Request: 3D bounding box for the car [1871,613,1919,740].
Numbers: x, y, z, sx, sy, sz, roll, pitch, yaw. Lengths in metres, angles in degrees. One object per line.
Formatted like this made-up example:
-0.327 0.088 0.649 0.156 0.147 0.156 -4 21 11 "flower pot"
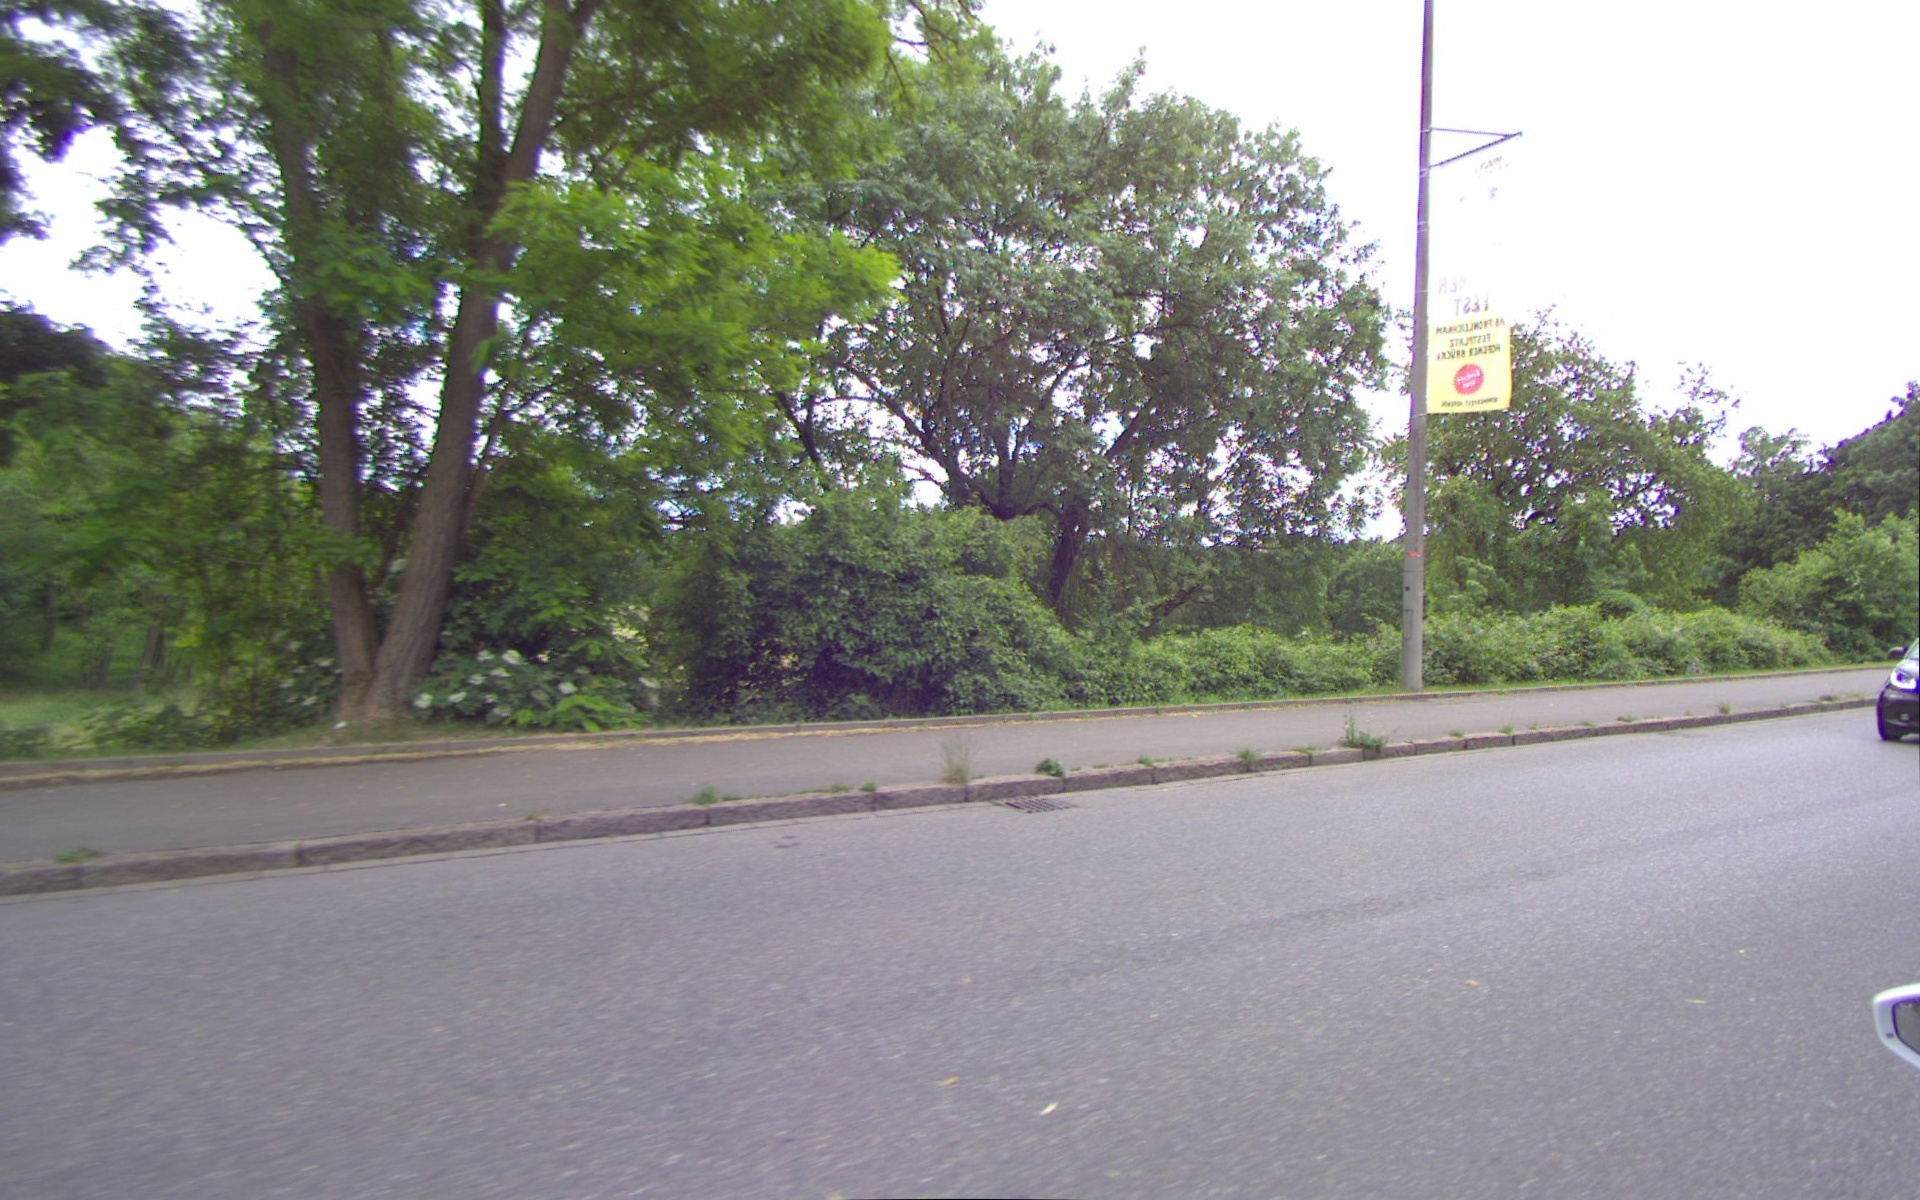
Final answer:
13.012 0.960 12.655 2.996 1.526 1.586 1 0 -33 "car"
